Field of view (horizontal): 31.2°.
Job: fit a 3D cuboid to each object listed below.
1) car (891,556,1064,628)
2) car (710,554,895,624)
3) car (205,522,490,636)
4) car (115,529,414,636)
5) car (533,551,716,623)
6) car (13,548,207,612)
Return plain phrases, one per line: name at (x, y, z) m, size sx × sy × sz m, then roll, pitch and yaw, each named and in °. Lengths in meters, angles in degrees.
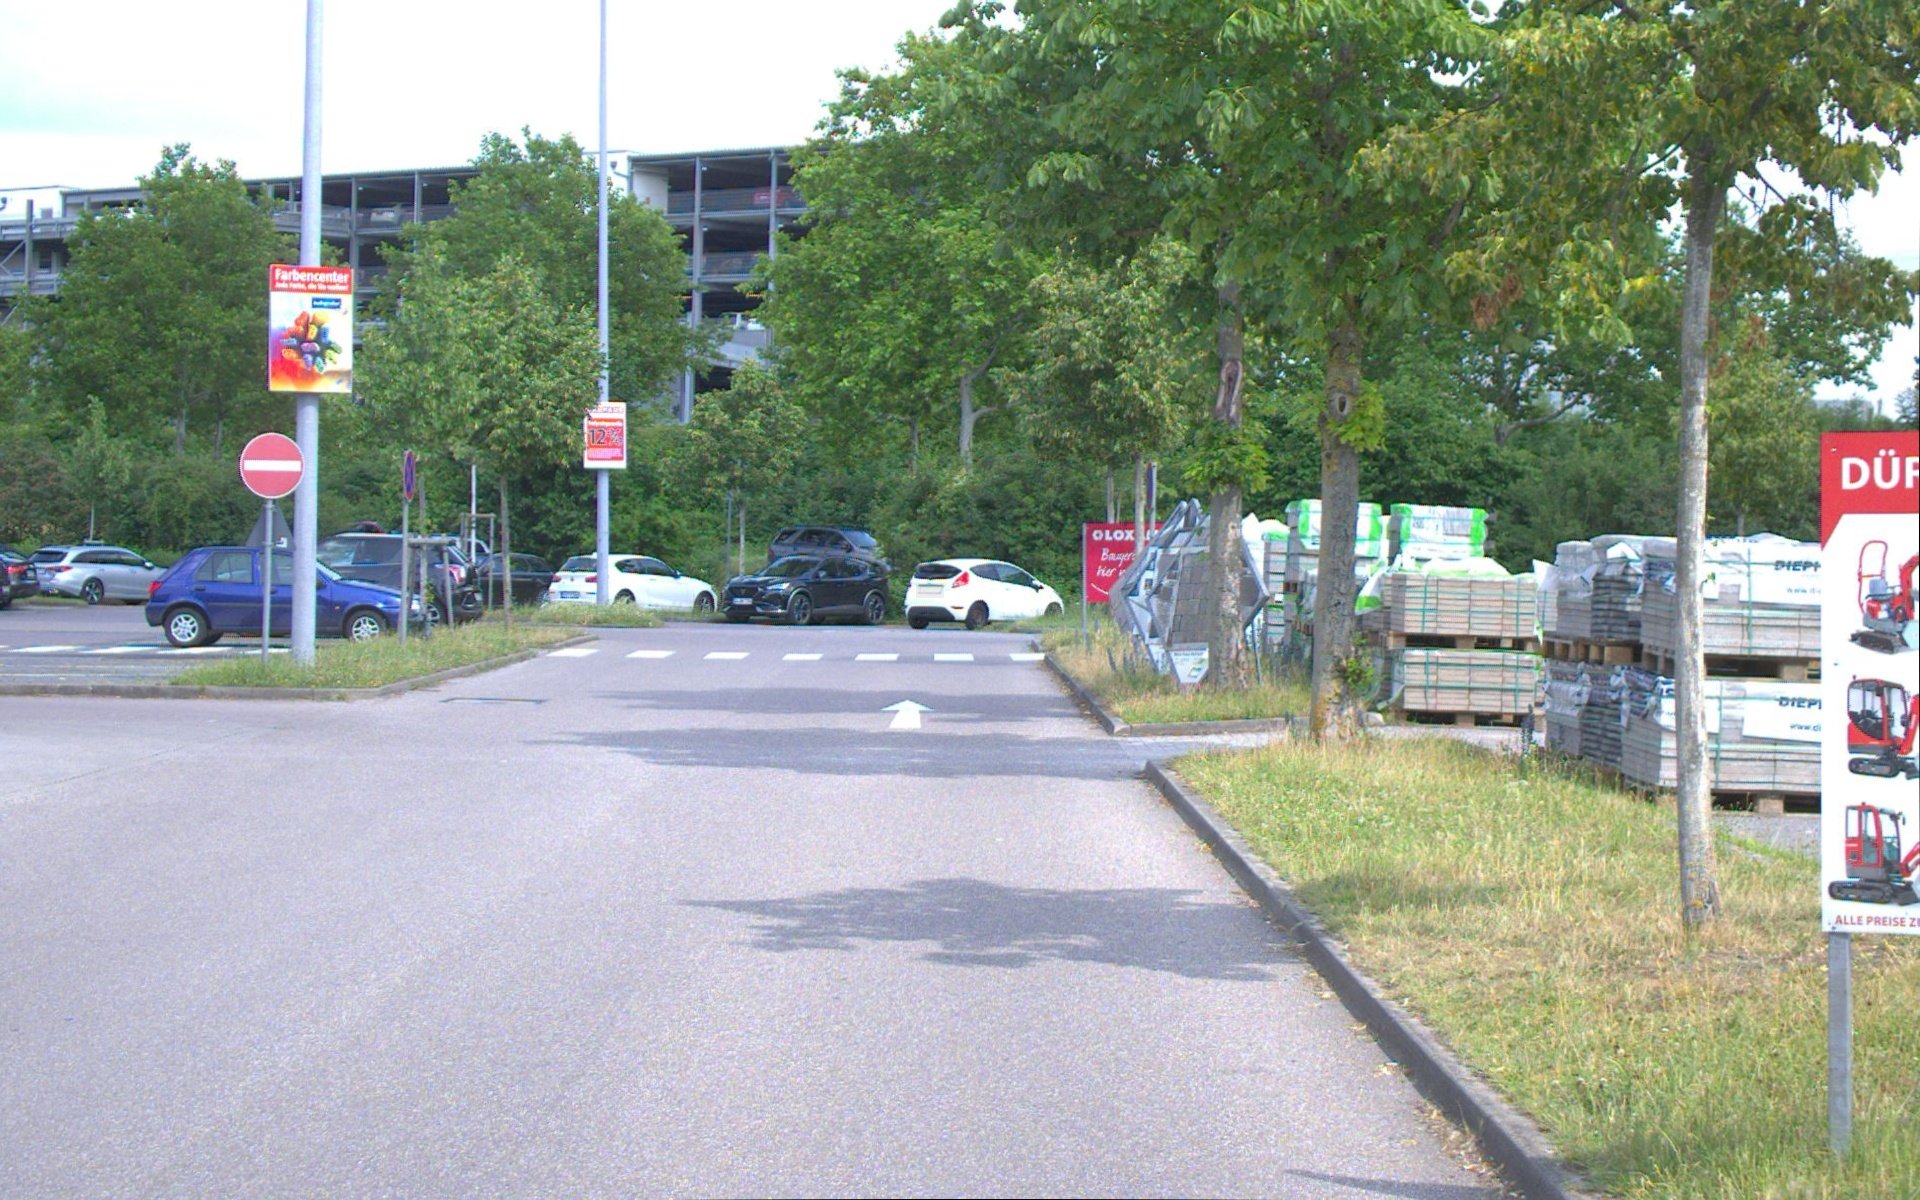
car at (0.377, -0.162, 70.456) m, size 1.668 × 1.407 × 3.549 m, roll 2°, pitch 1°, yaw 39°
car at (-3.339, -0.233, 73.492) m, size 1.731 × 1.405 × 4.234 m, roll 2°, pitch 1°, yaw 34°
car at (-9.264, -0.322, 52.175) m, size 3.950 × 1.619 × 1.736 m, roll 1°, pitch 1°, yaw 2°
car at (-9.497, -0.248, 47.144) m, size 3.750 × 1.363 × 1.621 m, roll 1°, pitch 1°, yaw 0°
car at (-7.372, -0.277, 75.936) m, size 1.688 × 1.504 × 4.073 m, roll -2°, pitch -1°, yaw 37°
car at (-20.957, -0.491, 84.917) m, size 1.782 × 1.499 × 4.645 m, roll 2°, pitch 1°, yaw 34°
